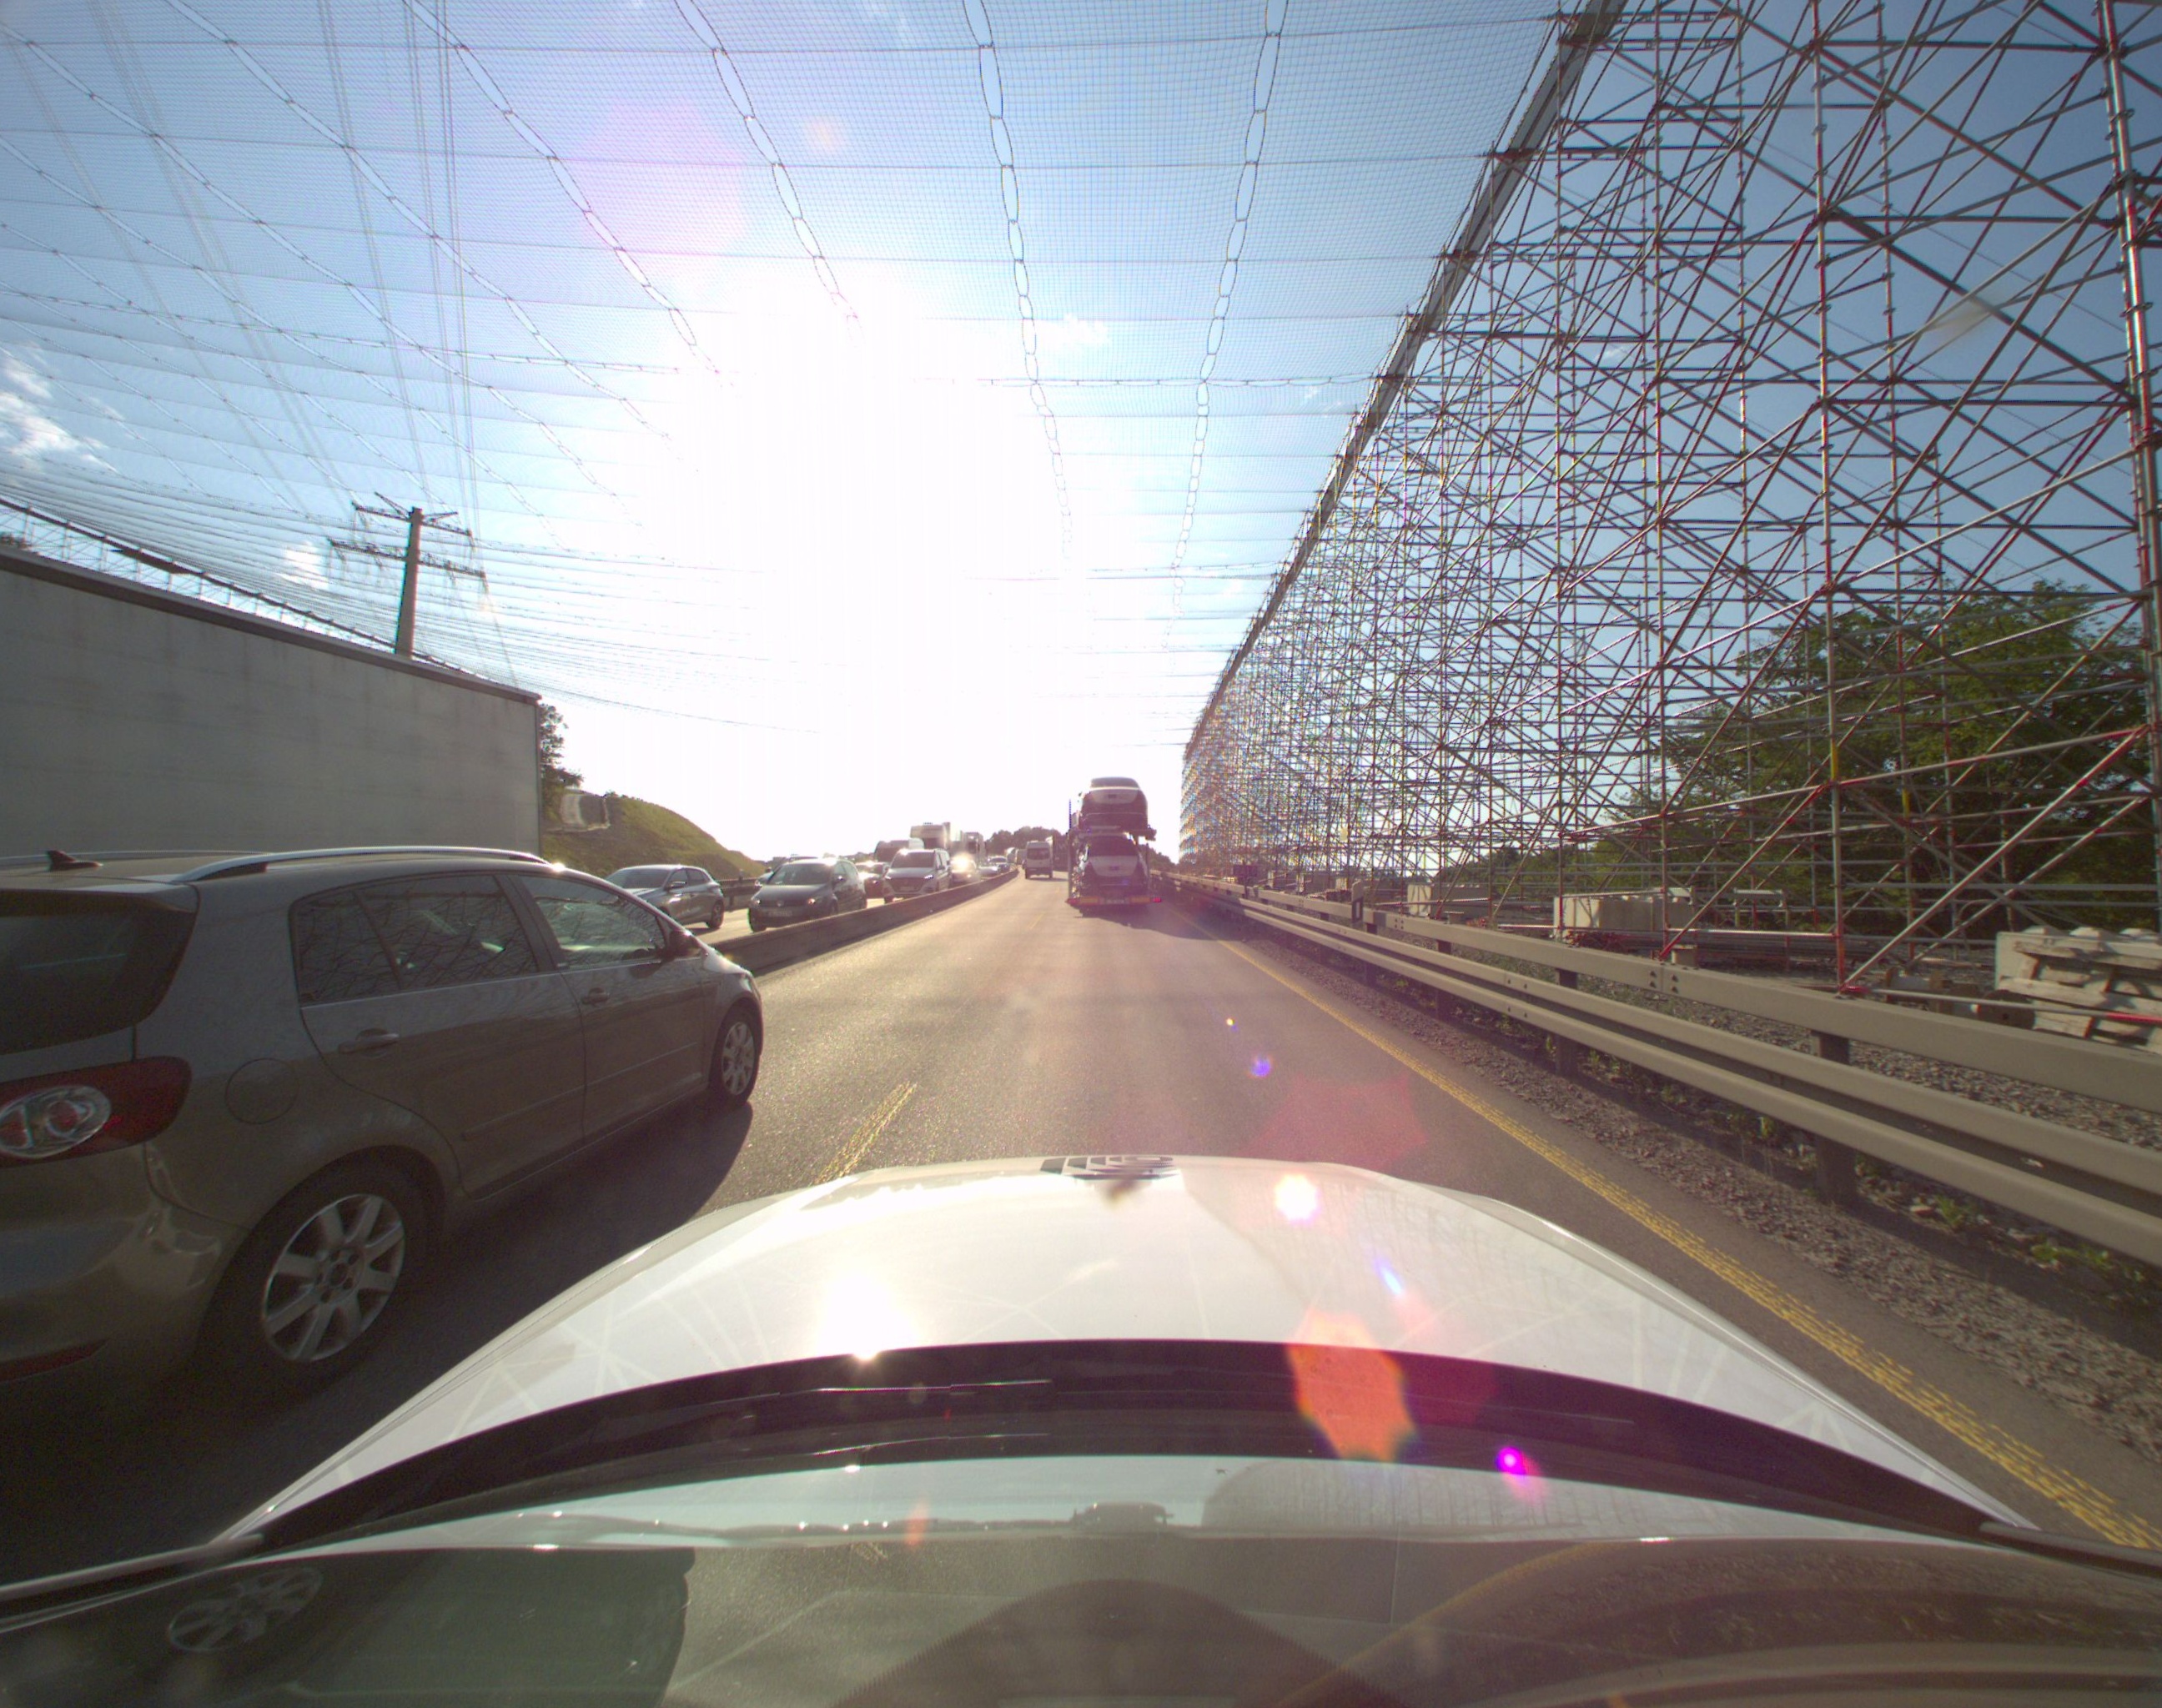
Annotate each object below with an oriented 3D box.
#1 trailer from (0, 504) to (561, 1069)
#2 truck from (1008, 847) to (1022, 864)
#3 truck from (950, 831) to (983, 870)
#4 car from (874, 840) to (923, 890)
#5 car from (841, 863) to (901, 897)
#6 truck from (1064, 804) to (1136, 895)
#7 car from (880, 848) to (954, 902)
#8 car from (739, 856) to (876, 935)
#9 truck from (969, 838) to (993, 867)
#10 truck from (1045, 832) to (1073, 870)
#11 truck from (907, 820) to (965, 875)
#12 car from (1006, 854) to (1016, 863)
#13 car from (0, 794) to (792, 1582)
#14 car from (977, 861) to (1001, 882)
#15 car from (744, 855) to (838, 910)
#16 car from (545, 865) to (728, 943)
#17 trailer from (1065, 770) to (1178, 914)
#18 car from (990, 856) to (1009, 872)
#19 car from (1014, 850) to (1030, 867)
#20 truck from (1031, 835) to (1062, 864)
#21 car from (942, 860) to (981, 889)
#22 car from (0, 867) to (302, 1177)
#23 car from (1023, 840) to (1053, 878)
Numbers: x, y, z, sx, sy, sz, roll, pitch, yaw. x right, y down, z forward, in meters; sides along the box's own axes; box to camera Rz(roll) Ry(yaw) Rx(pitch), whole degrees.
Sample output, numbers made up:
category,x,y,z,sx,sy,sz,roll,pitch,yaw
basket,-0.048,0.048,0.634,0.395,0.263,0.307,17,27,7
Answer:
category,x,y,z,sx,sy,sz,roll,pitch,yaw
trailer,-9.436,-0.511,5.543,2.644,4.233,13.921,0,0,1
truck,-15.113,0.359,185.987,2.615,3.723,9.631,0,0,-8
truck,-11.073,-0.297,79.754,2.591,3.473,12.368,0,0,-5
car,-9.699,0.565,43.568,1.990,2.541,3.994,0,0,-4
car,-8.907,1.063,34.812,1.578,1.332,3.998,-1,-1,-1
truck,0.765,-0.139,37.108,2.873,3.702,7.323,-1,-1,0
car,-6.016,0.746,30.387,1.830,1.893,4.001,0,0,2
car,-6.141,0.861,18.779,1.689,1.629,4.001,0,0,2
truck,-12.824,-0.169,104.879,2.591,3.473,12.368,0,0,-5
truck,-2.771,-0.324,98.823,2.728,4.386,11.500,0,0,-5
truck,-10.037,-0.382,57.778,2.589,3.473,12.376,0,0,-3
car,-13.430,0.915,156.056,1.705,1.618,3.501,-1,-1,-1
car,-2.938,0.703,3.661,1.677,1.574,4.101,-1,-1,2
car,-6.769,1.269,59.666,1.700,1.453,3.990,0,0,-7
car,-9.370,0.873,26.632,1.674,1.684,3.998,0,0,-1
car,-9.239,0.976,17.313,1.659,1.441,3.852,0,0,2
trailer,0.927,-0.205,28.868,2.861,3.725,14.937,-1,-1,-1
car,-7.438,0.877,73.939,1.700,1.453,3.990,0,0,-7
car,-9.136,0.679,125.133,1.994,2.578,3.985,0,0,-11
truck,-5.829,-0.560,132.992,3.684,4.221,13.632,-4,-1,-7
car,-6.323,1.068,43.448,1.834,1.453,3.992,0,0,-6
car,-6.361,0.854,3.443,1.734,1.543,4.408,0,0,3
car,-3.078,0.409,59.012,1.951,2.621,3.996,-2,-1,-2
